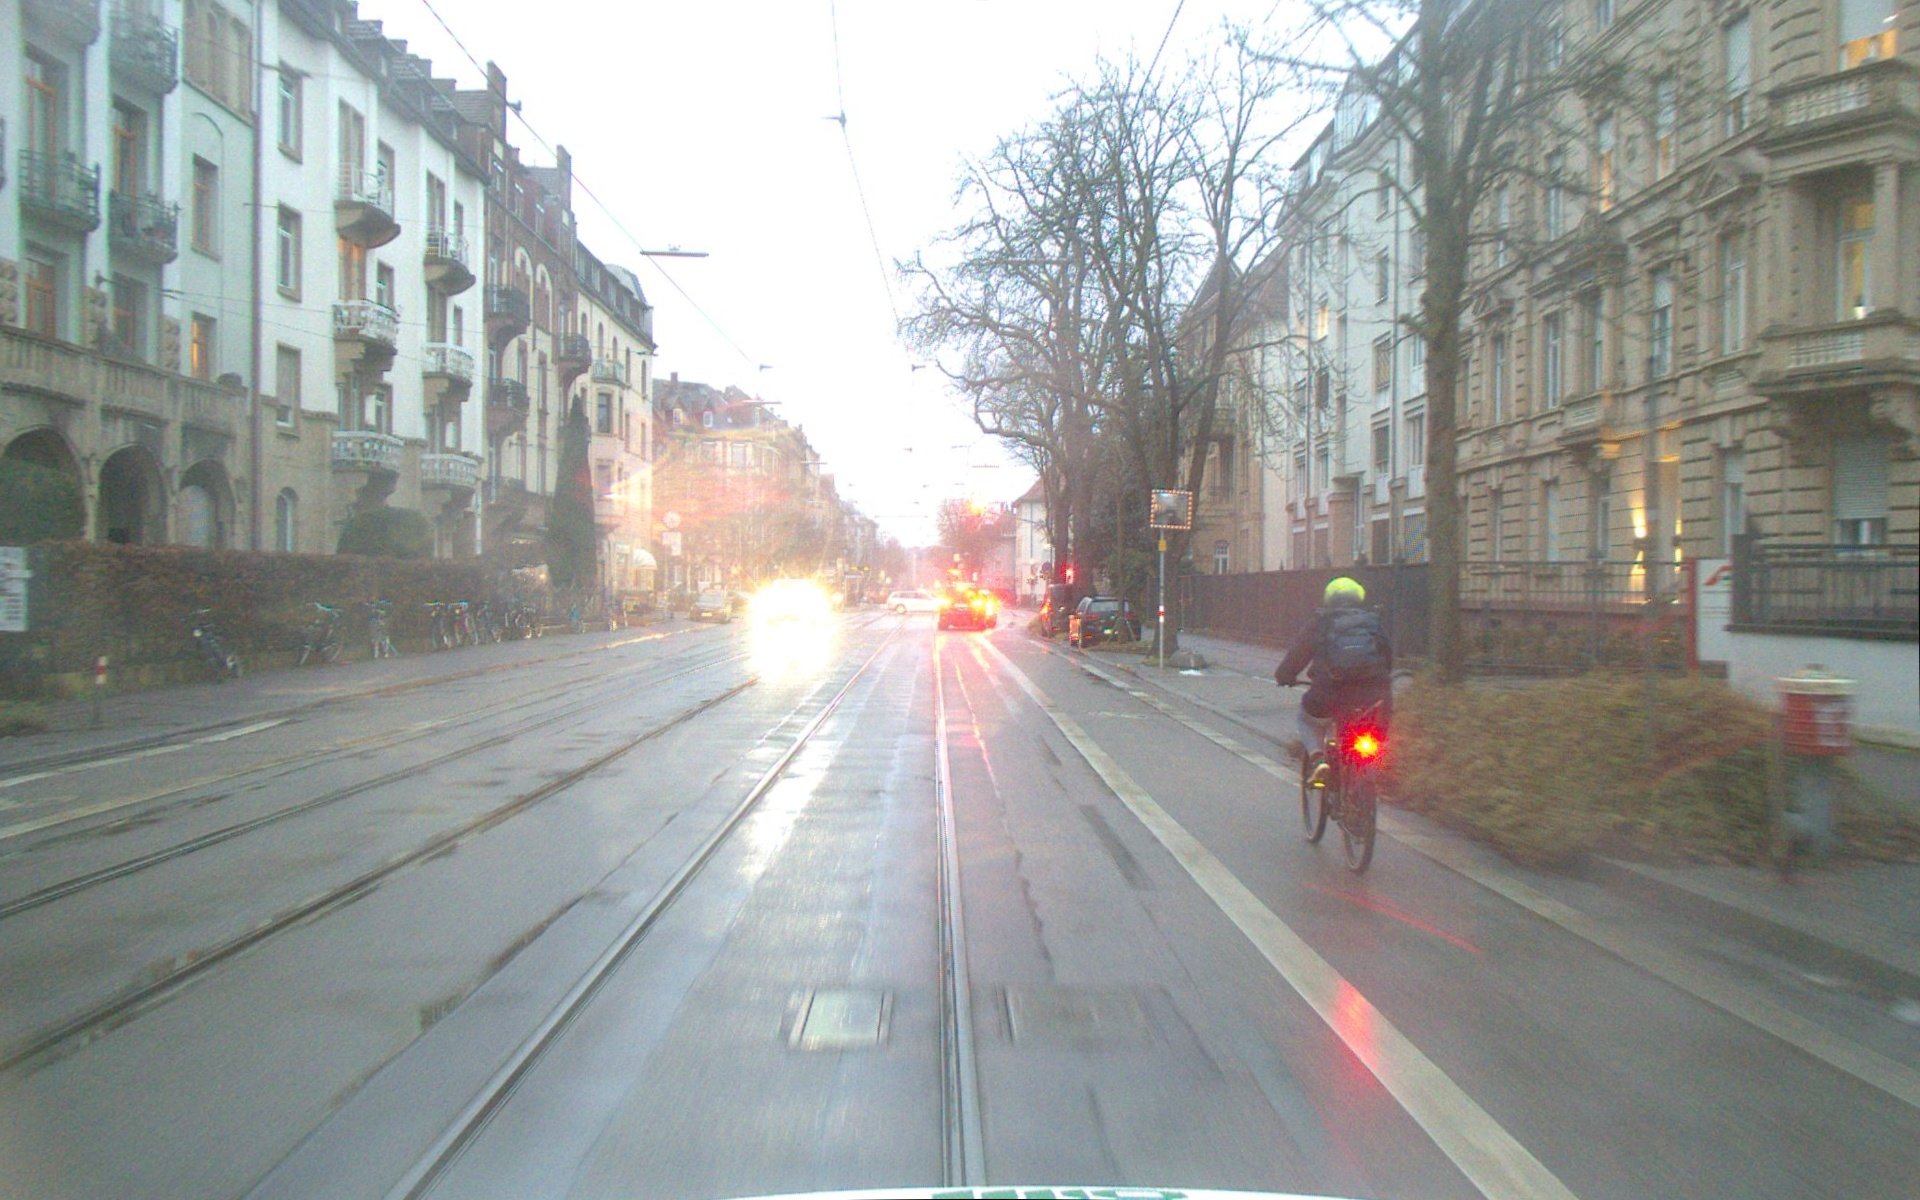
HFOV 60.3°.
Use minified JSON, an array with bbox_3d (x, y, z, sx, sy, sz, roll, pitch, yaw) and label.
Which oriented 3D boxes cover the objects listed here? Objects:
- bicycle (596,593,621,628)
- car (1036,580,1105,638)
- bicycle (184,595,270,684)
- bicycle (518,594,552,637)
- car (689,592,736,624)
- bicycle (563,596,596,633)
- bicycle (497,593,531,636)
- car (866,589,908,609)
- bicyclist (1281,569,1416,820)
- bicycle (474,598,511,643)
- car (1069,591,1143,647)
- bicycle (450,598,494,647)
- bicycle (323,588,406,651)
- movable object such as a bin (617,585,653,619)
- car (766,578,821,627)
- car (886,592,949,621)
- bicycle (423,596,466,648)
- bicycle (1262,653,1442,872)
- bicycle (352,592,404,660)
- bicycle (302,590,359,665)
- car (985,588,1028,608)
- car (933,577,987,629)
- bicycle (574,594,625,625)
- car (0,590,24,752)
[{"bbox_3d":[-11.495,0.323,54.130,0.602,1.099,1.809,0,1,-5],"label":"bicycle"},{"bbox_3d":[3.883,0.276,58.923,1.953,1.933,5.025,0,1,-2],"label":"car"},{"bbox_3d":[-10.765,0.562,24.336,0.679,1.233,1.594,0,1,-6],"label":"bicycle"},{"bbox_3d":[-11.333,0.399,44.135,0.476,1.118,1.930,-1,0,-2],"label":"bicycle"},{"bbox_3d":[-12.206,0.381,81.728,1.796,1.472,4.000,0,1,-1],"label":"car"},{"bbox_3d":[-11.312,0.425,49.193,0.613,1.035,1.805,-1,1,-2],"label":"bicycle"},{"bbox_3d":[-11.254,0.367,41.741,0.679,1.049,1.592,0,0,-10],"label":"bicycle"},{"bbox_3d":[-6.762,-0.084,153.514,3.906,1.747,1.903,0,1,-1],"label":"car"},{"bbox_3d":[2.355,0.546,10.099,0.642,1.471,0.849,0,1,1],"label":"bicyclist"},{"bbox_3d":[-11.190,0.490,39.602,0.679,1.049,1.592,0,-1,-10],"label":"bicycle"},{"bbox_3d":[4.129,0.505,47.205,1.643,1.485,4.041,0,1,-2],"label":"car"},{"bbox_3d":[-11.161,0.523,37.833,0.679,1.049,1.594,-1,-3,-6],"label":"bicycle"},{"bbox_3d":[-12.625,0.410,35.084,1.556,1.286,0.490,-1,-4,2],"label":"bicycle"},{"bbox_3d":[-14.908,0.086,75.877,1.380,1.557,1.364,0,1,-1],"label":"movable object such as a bin"},{"bbox_3d":[-7.034,0.079,70.372,2.005,1.955,5.098,0,1,-3],"label":"car"},{"bbox_3d":[-2.664,0.427,103.924,3.905,1.758,1.740,0,1,0],"label":"car"},{"bbox_3d":[-11.175,0.491,35.875,0.679,1.049,1.591,0,-3,-10],"label":"bicycle"},{"bbox_3d":[2.373,0.940,10.241,0.692,1.116,2.030,0,1,2],"label":"bicycle"},{"bbox_3d":[-11.100,0.480,31.583,0.679,1.233,1.593,0,1,-10],"label":"bicycle"},{"bbox_3d":[-10.907,0.455,28.694,0.618,1.233,1.593,0,1,-10],"label":"bicycle"},{"bbox_3d":[4.340,-0.188,153.525,3.903,1.747,1.904,0,1,3],"label":"car"},{"bbox_3d":[-0.035,0.140,66.461,1.953,1.930,4.757,1,-1,-2],"label":"car"},{"bbox_3d":[-13.172,0.353,60.501,1.771,1.099,0.615,0,1,-8],"label":"bicycle"},{"bbox_3d":[-10.573,0.664,14.350,3.970,1.453,1.819,-1,1,-44],"label":"car"}]
